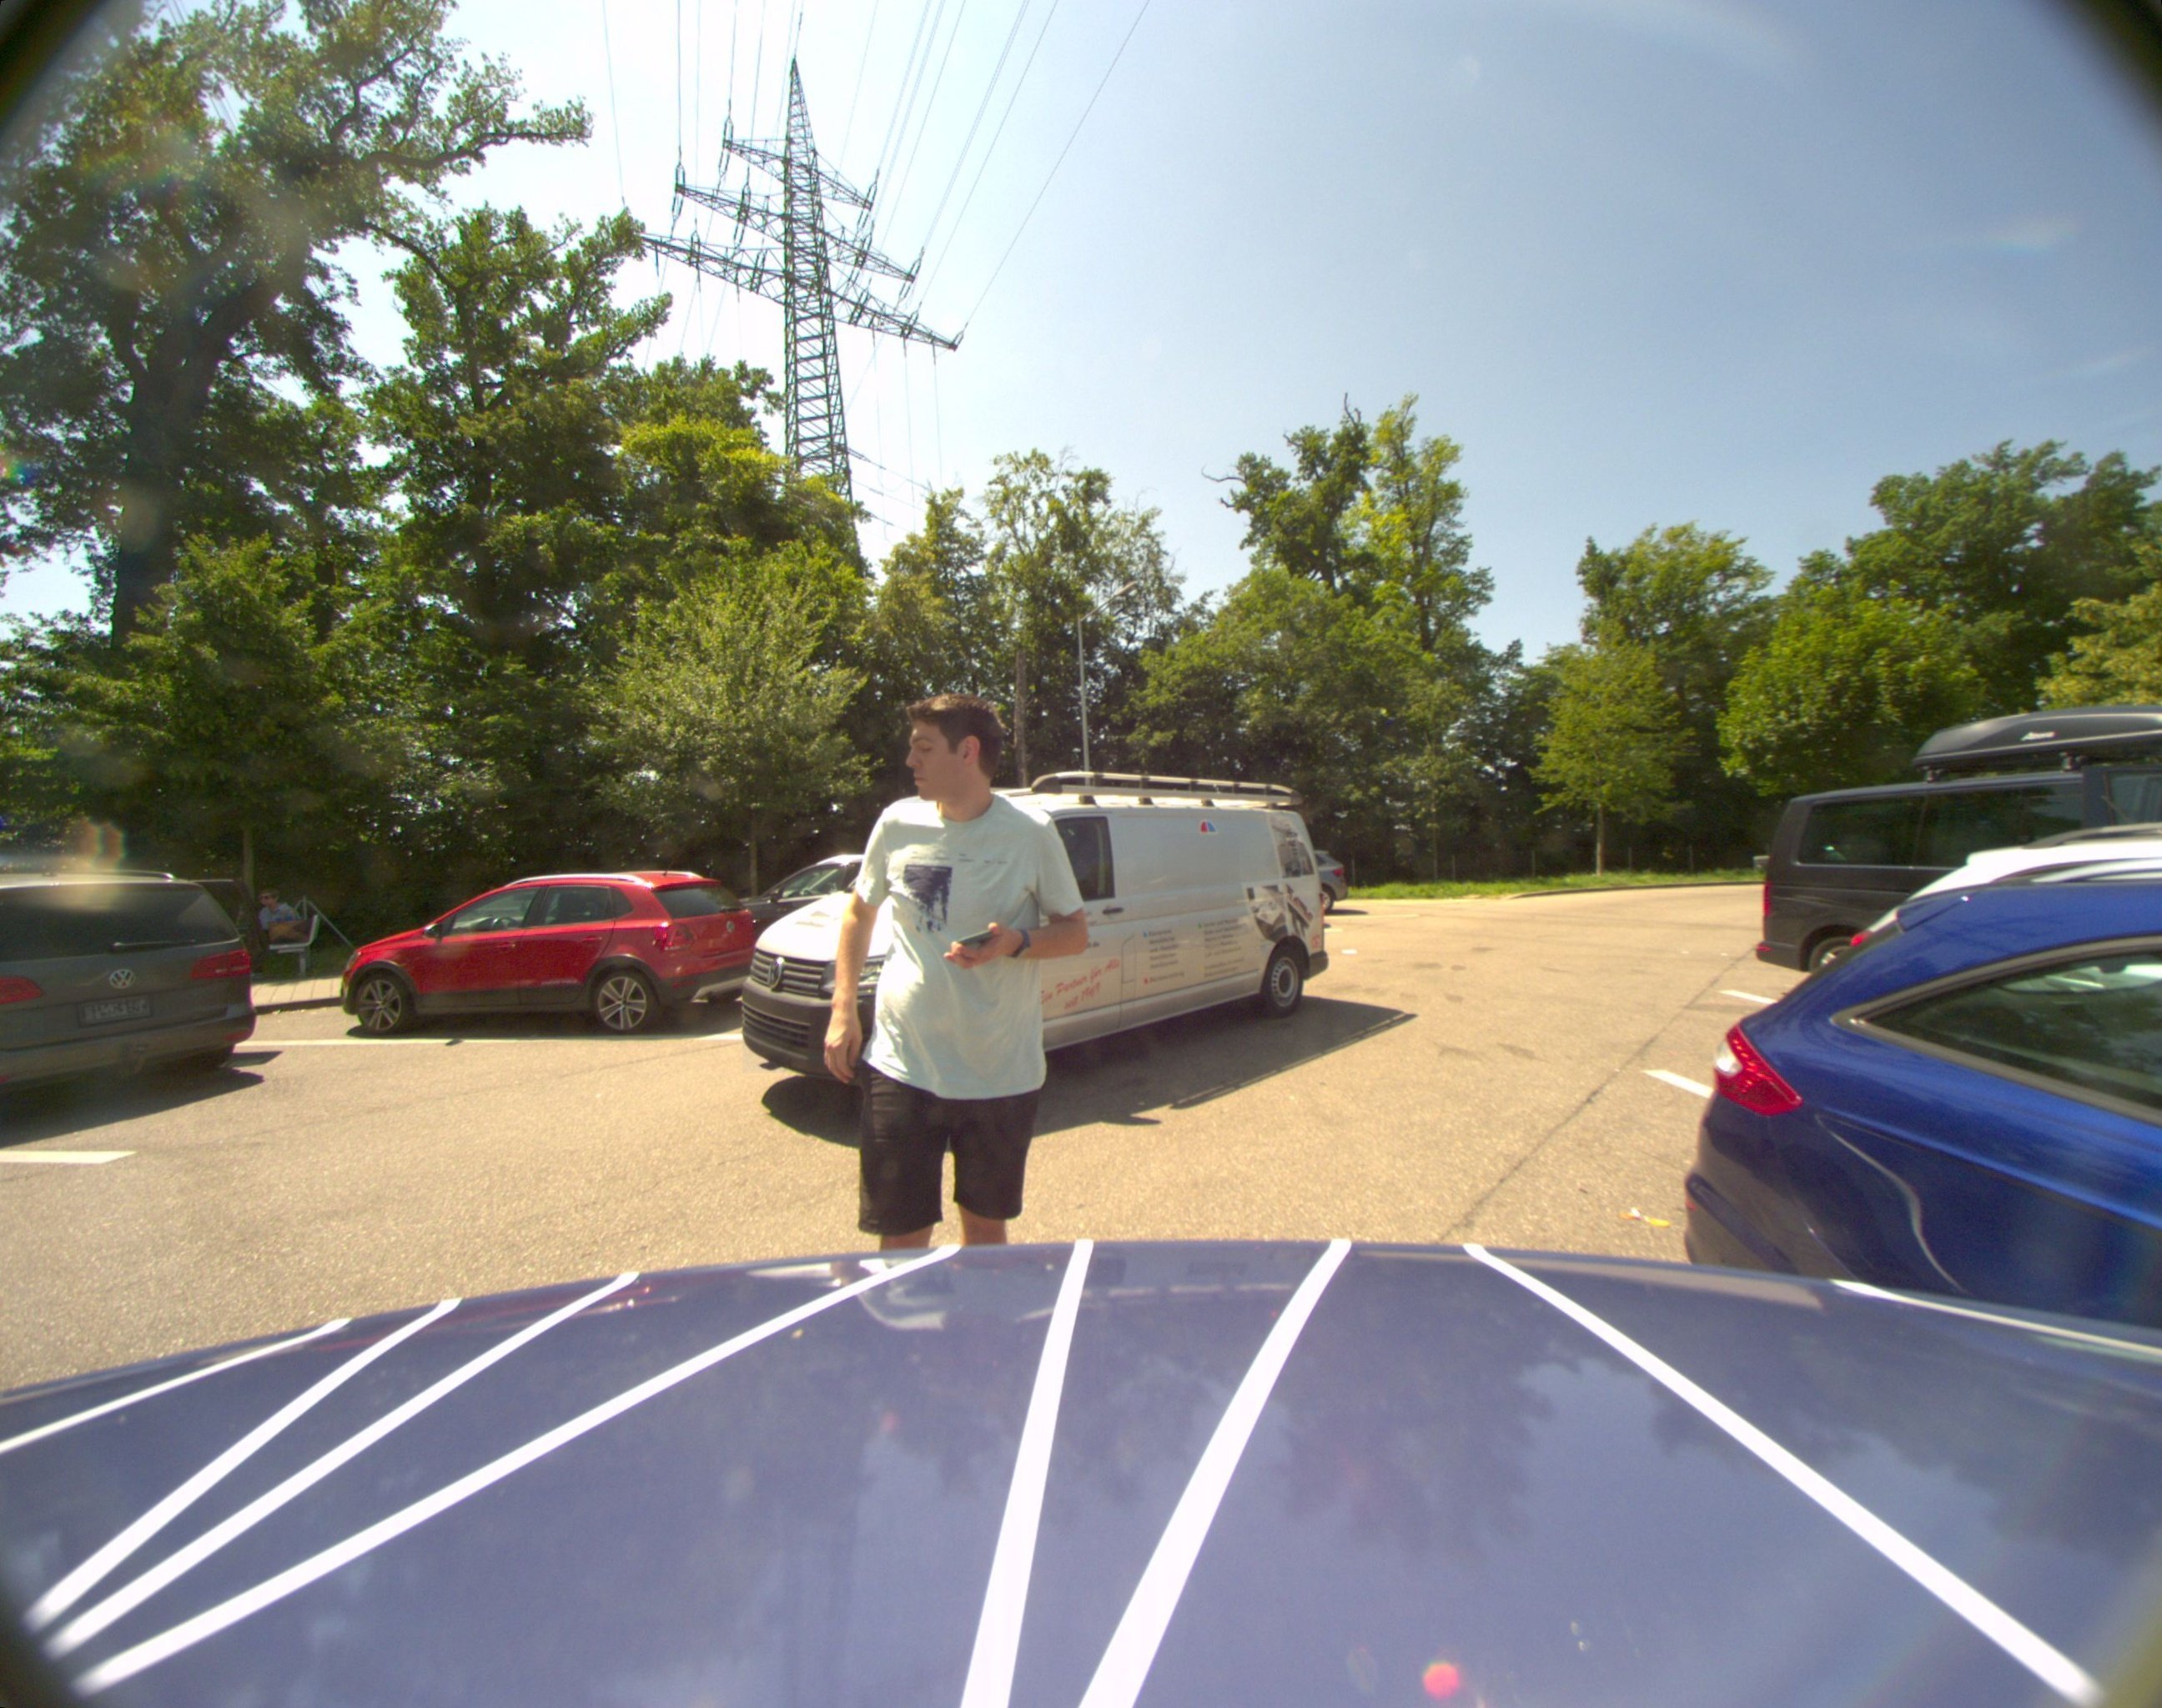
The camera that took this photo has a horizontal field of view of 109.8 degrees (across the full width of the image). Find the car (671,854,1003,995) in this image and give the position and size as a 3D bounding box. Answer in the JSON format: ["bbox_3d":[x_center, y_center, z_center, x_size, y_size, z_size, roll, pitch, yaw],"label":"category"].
[{"bbox_3d":[-3.104,0.886,10.241,3.866,1.607,1.709,-2,0,0],"label":"car"}]

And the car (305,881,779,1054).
[{"bbox_3d":[-5.268,1.081,7.689,3.745,1.458,1.621,-2,0,7],"label":"car"}]

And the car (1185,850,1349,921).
[{"bbox_3d":[4.320,0.728,18.126,3.585,1.493,1.707,-2,1,8],"label":"car"}]

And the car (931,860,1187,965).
[{"bbox_3d":[-0.277,0.885,12.216,3.773,1.445,1.848,-2,0,4],"label":"car"}]

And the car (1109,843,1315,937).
[{"bbox_3d":[2.561,0.693,15.443,3.850,1.678,1.755,-2,0,4],"label":"car"}]

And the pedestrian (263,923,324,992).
[{"bbox_3d":[-10.864,1.412,10.496,0.503,0.873,0.512,-2,-1,-39],"label":"pedestrian"}]

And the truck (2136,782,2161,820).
[{"bbox_3d":[40.278,-1.988,27.089,1.168,1.367,2.882,-2,-1,-19],"label":"truck"}]

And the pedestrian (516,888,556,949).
[{"bbox_3d":[-11.015,1.292,15.363,0.413,1.186,0.443,-2,1,12],"label":"pedestrian"}]

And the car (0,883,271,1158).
[{"bbox_3d":[-8.433,1.110,5.446,3.903,1.607,1.705,-2,1,11],"label":"car"}]

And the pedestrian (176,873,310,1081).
[{"bbox_3d":[-7.378,1.043,6.704,0.481,1.712,0.589,-2,1,22],"label":"pedestrian"}]

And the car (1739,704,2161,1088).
[{"bbox_3d":[7.318,0.236,5.218,1.788,2.304,4.084,-2,0,-5],"label":"car"}]

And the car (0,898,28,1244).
[{"bbox_3d":[-6.569,1.047,1.910,4.173,1.607,1.835,-2,0,-27],"label":"car"}]

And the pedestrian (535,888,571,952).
[{"bbox_3d":[-10.098,1.264,14.531,0.366,1.186,0.356,-2,1,21],"label":"pedestrian"}]

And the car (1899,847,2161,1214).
[{"bbox_3d":[4.708,0.652,2.189,1.344,1.352,3.114,-2,0,1],"label":"car"}]

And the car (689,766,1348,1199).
[{"bbox_3d":[0.046,0.586,6.232,5.445,2.092,1.839,-2,1,-45],"label":"car"}]

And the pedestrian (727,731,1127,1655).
[{"bbox_3d":[-0.338,0.668,1.851,0.740,1.818,0.614,-2,0,-7],"label":"pedestrian"}]
